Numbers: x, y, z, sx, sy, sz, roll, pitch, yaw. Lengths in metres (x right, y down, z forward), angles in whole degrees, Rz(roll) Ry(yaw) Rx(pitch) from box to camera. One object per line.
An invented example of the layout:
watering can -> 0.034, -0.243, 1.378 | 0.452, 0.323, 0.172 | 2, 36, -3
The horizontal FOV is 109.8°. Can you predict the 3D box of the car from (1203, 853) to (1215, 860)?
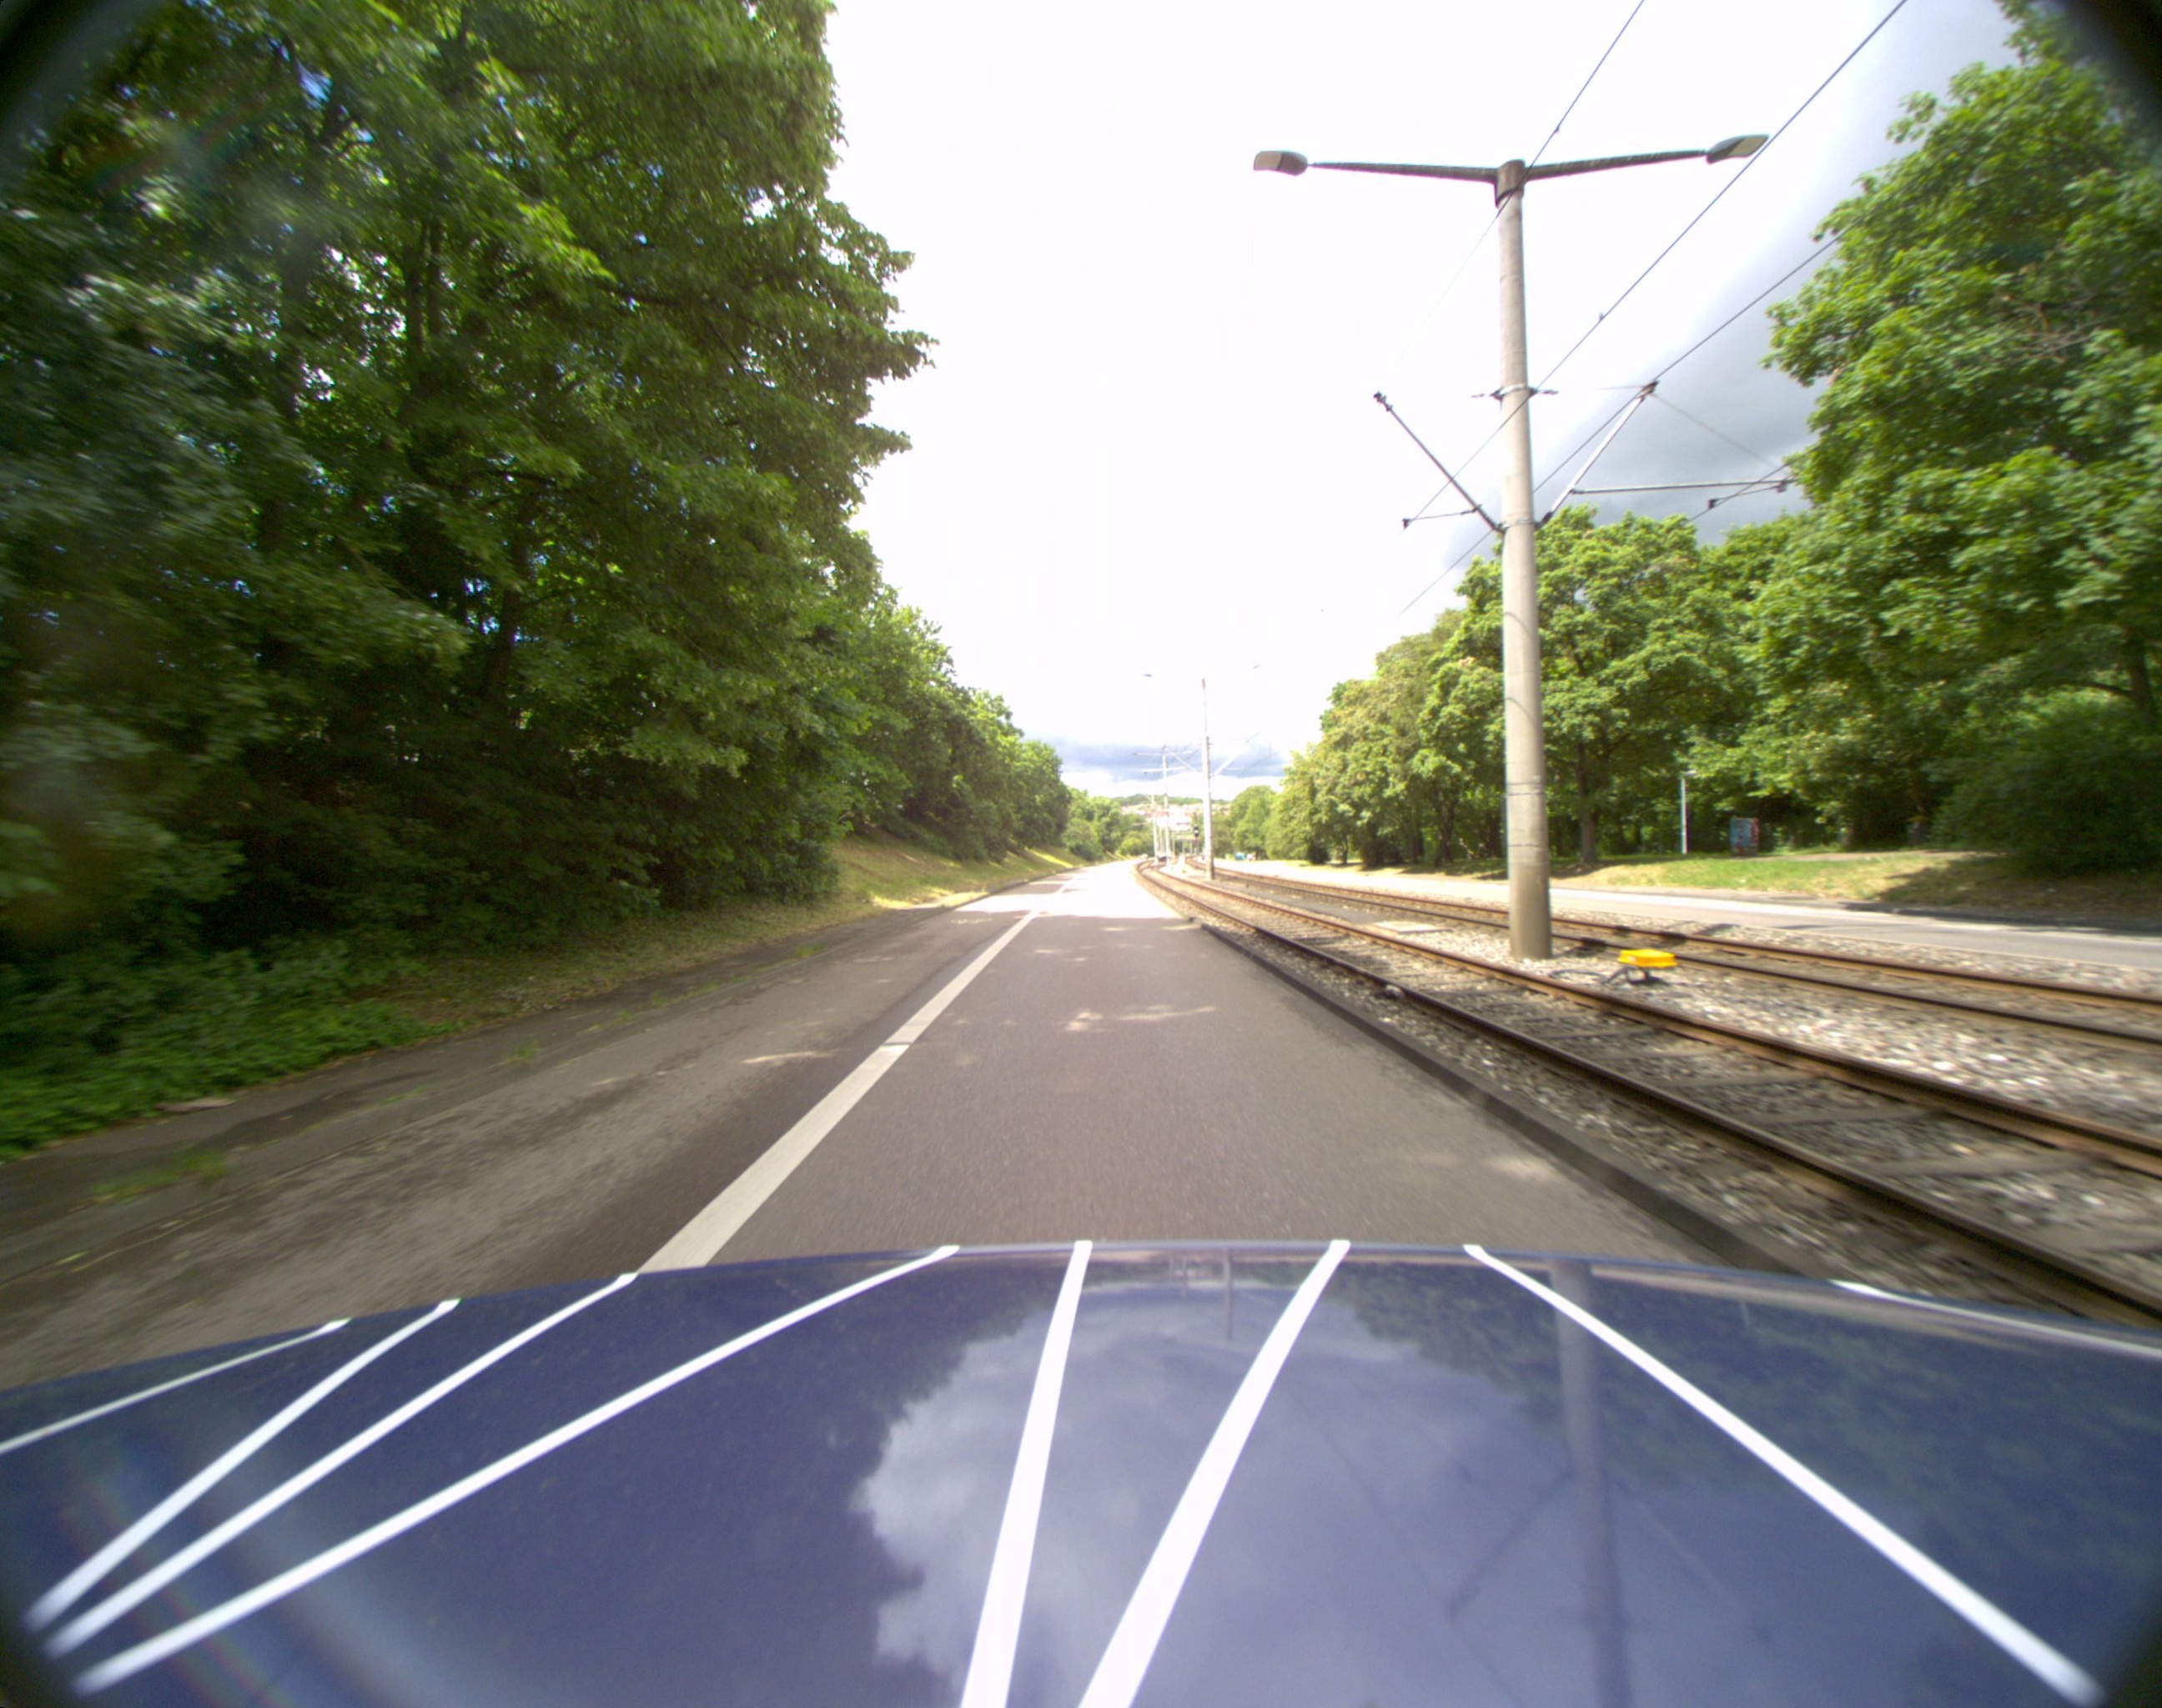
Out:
car -> 25.769, 0.560, 153.071 | 1.839, 1.383, 4.863 | 0, 0, 5
